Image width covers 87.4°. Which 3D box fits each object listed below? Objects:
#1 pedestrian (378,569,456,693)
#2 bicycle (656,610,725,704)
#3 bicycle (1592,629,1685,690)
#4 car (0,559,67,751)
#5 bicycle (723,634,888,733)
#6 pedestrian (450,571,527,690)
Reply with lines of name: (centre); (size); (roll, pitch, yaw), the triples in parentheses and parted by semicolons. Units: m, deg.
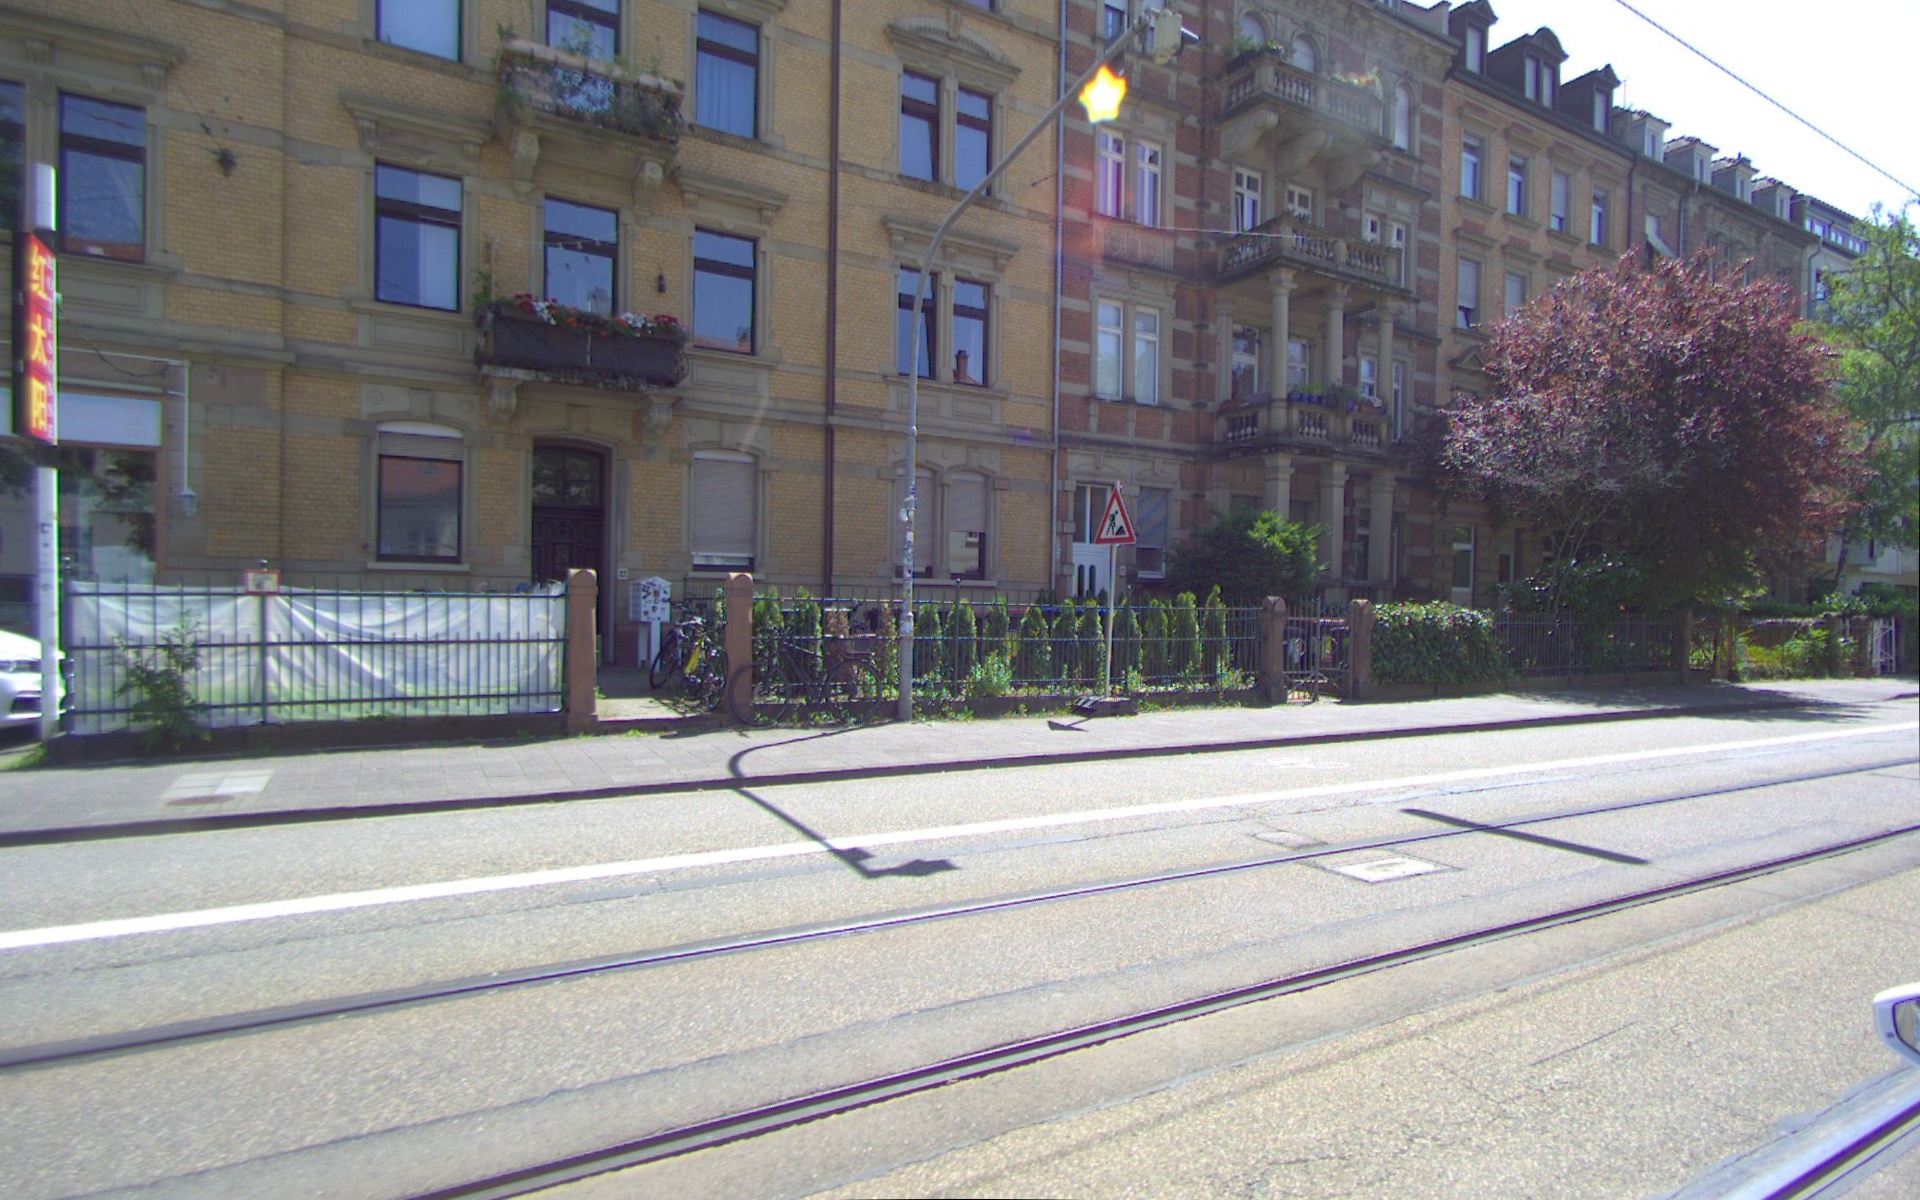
pedestrian: (-6.038, 0.341, 11.162); (0.704, 1.315, 0.705); (0, -1, -34)
bicycle: (-3.264, 0.645, 12.076); (0.467, 1.017, 1.775); (1, 0, -26)
bicycle: (15.370, 1.324, 22.783); (0.506, 1.203, 1.594); (0, 4, -42)
car: (-10.119, 0.405, 8.151); (4.061, 1.621, 1.853); (1, 1, -35)
bicycle: (-1.693, 0.895, 11.172); (1.788, 1.017, 0.451); (1, 0, -34)
pedestrian: (-5.442, 0.344, 11.591); (0.704, 1.315, 0.705); (0, -1, -34)
